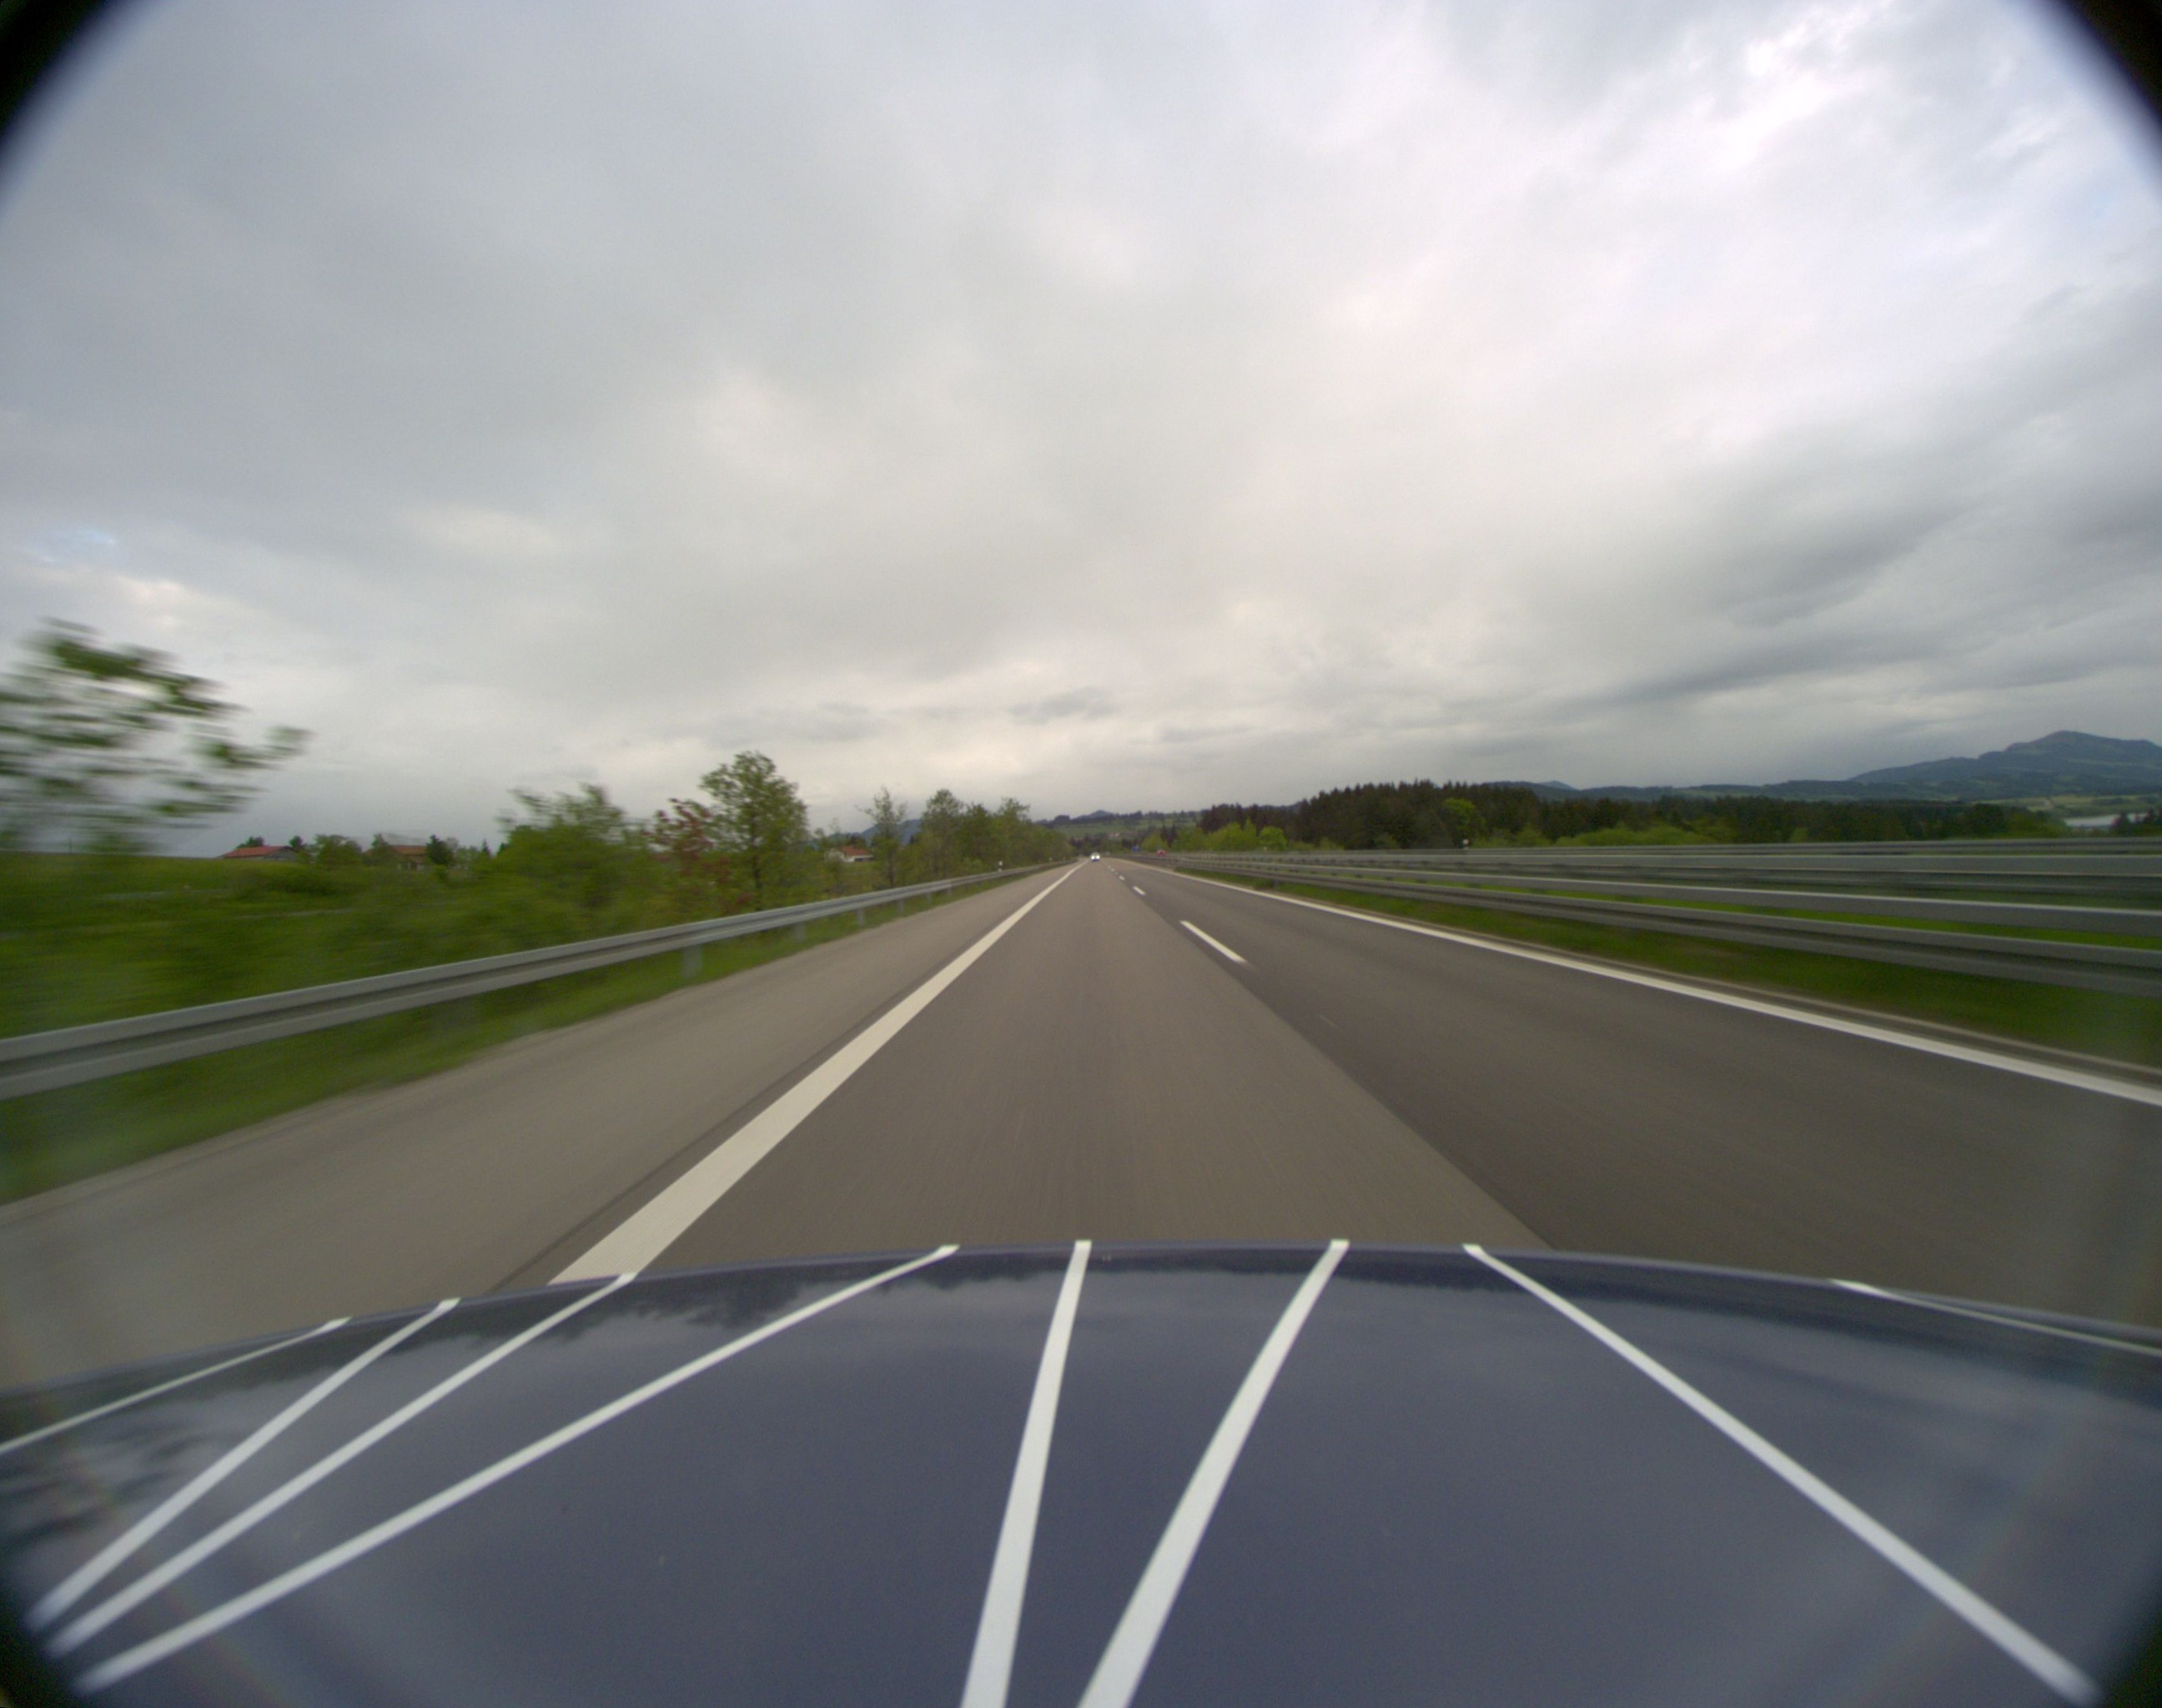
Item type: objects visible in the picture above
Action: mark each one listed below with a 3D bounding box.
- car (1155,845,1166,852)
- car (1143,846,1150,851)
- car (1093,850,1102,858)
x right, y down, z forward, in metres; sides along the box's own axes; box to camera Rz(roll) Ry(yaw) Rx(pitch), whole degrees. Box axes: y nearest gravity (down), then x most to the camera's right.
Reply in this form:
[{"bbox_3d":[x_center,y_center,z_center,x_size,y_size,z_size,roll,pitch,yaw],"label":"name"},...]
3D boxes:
[{"bbox_3d":[19.121,-1.297,182.890,1.998,1.607,4.847,-4,1,0],"label":"car"},{"bbox_3d":[20.670,-1.767,241.008,1.904,1.603,4.228,-4,0,1],"label":"car"},{"bbox_3d":[3.755,-0.005,175.429,2.021,1.899,4.221,-2,0,1],"label":"car"}]
